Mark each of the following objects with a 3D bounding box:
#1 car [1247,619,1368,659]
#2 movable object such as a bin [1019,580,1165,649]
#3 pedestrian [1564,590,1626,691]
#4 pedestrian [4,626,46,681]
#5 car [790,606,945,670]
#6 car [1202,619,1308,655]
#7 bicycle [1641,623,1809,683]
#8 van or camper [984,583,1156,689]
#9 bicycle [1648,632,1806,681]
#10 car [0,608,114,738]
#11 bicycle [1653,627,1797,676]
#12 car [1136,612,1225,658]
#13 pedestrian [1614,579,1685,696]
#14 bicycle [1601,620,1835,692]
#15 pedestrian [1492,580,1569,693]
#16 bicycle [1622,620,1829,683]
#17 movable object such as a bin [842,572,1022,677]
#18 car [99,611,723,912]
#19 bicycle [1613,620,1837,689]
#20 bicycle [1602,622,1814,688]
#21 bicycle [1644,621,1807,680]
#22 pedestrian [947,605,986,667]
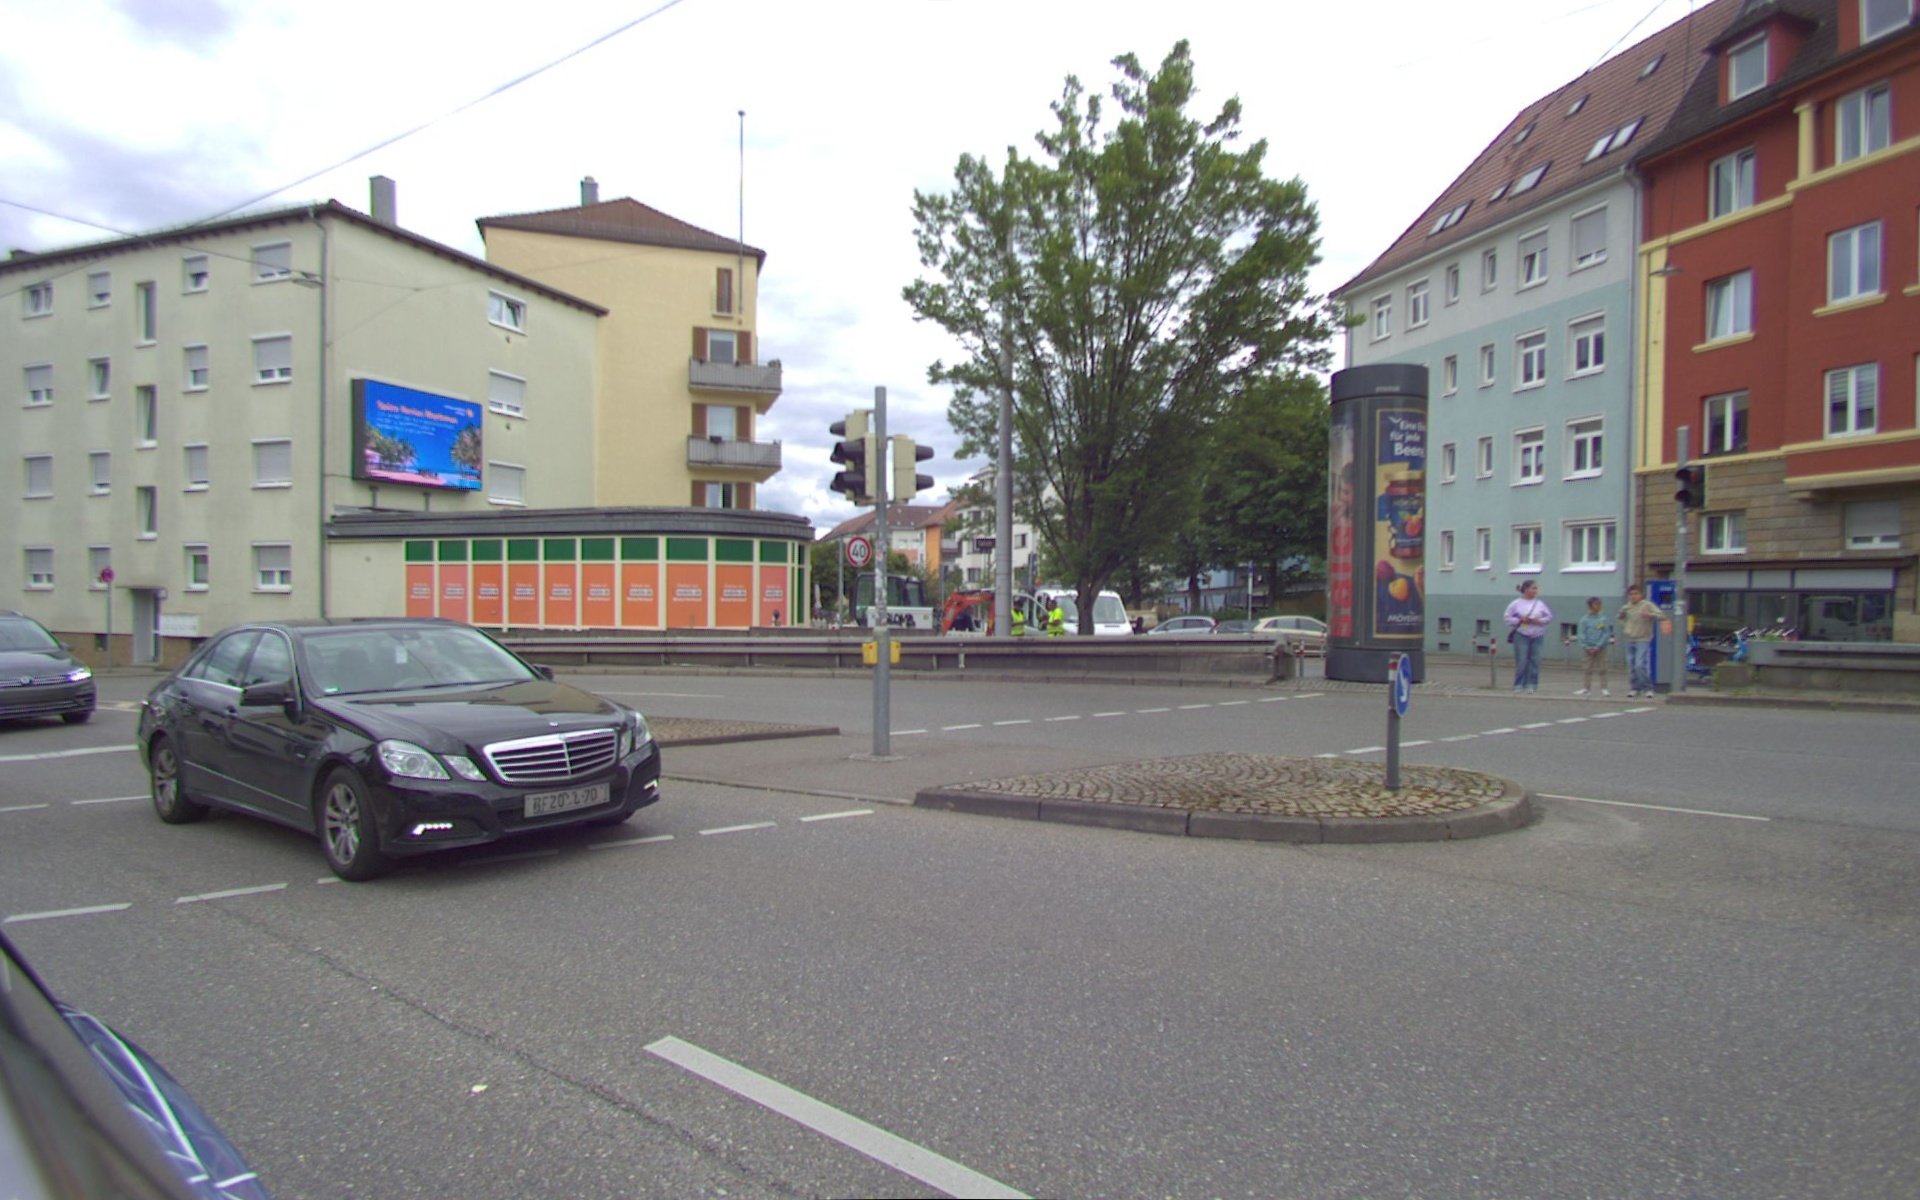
[{"bbox_3d":[12.882,1.457,37.735,4.123,1.380,1.780,-1,0,18],"label":"car"},{"bbox_3d":[4.540,0.420,33.705,2.389,2.087,6.184,-1,0,33],"label":"movable object such as a bin"},{"bbox_3d":[8.788,0.547,14.005,0.567,1.348,0.584,-1,-1,-45],"label":"pedestrian"},{"bbox_3d":[-29.002,1.660,31.399,0.773,1.649,0.685,-1,0,22],"label":"pedestrian"},{"bbox_3d":[-2.606,1.008,28.103,3.932,1.563,2.006,-2,0,-16],"label":"car"},{"bbox_3d":[12.257,1.518,42.100,4.123,1.380,1.780,-1,0,18],"label":"car"},{"bbox_3d":[16.465,1.113,21.876,2.831,1.211,0.809,-1,0,39],"label":"bicycle"},{"bbox_3d":[2.604,0.830,26.112,2.644,2.356,6.020,-1,0,-11],"label":"van or camper"},{"bbox_3d":[17.531,1.276,23.212,2.831,1.028,0.809,-1,0,39],"label":"bicycle"},{"bbox_3d":[-13.964,0.975,14.398,4.469,1.623,1.842,-1,1,35],"label":"car"},{"bbox_3d":[17.943,1.196,23.818,2.658,1.078,0.627,-1,0,39],"label":"bicycle"},{"bbox_3d":[10.341,1.644,47.626,3.959,2.029,1.992,-2,-1,13],"label":"car"},{"bbox_3d":[9.148,0.482,13.424,0.516,1.498,0.654,-1,-1,-45],"label":"pedestrian"},{"bbox_3d":[13.782,0.987,18.553,3.355,1.211,0.808,-1,0,39],"label":"bicycle"},{"bbox_3d":[8.166,0.509,14.496,0.783,1.558,0.739,-1,-1,-45],"label":"pedestrian"},{"bbox_3d":[15.846,1.042,21.086,3.354,1.211,0.894,-1,0,39],"label":"bicycle"},{"bbox_3d":[-0.562,0.518,21.070,3.499,2.029,1.374,-2,-1,12],"label":"movable object such as a bin"},{"bbox_3d":[-4.065,0.848,7.138,4.832,1.439,1.976,-2,-1,36],"label":"car"},{"bbox_3d":[14.580,1.008,19.430,3.354,1.211,0.809,-1,0,39],"label":"bicycle"},{"bbox_3d":[14.976,1.079,20.393,3.354,1.211,0.894,-1,0,39],"label":"bicycle"},{"bbox_3d":[16.999,1.095,22.563,2.831,1.211,0.809,-1,0,39],"label":"bicycle"},{"bbox_3d":[0.137,0.803,22.945,0.592,1.374,0.627,-1,0,-36],"label":"pedestrian"}]
